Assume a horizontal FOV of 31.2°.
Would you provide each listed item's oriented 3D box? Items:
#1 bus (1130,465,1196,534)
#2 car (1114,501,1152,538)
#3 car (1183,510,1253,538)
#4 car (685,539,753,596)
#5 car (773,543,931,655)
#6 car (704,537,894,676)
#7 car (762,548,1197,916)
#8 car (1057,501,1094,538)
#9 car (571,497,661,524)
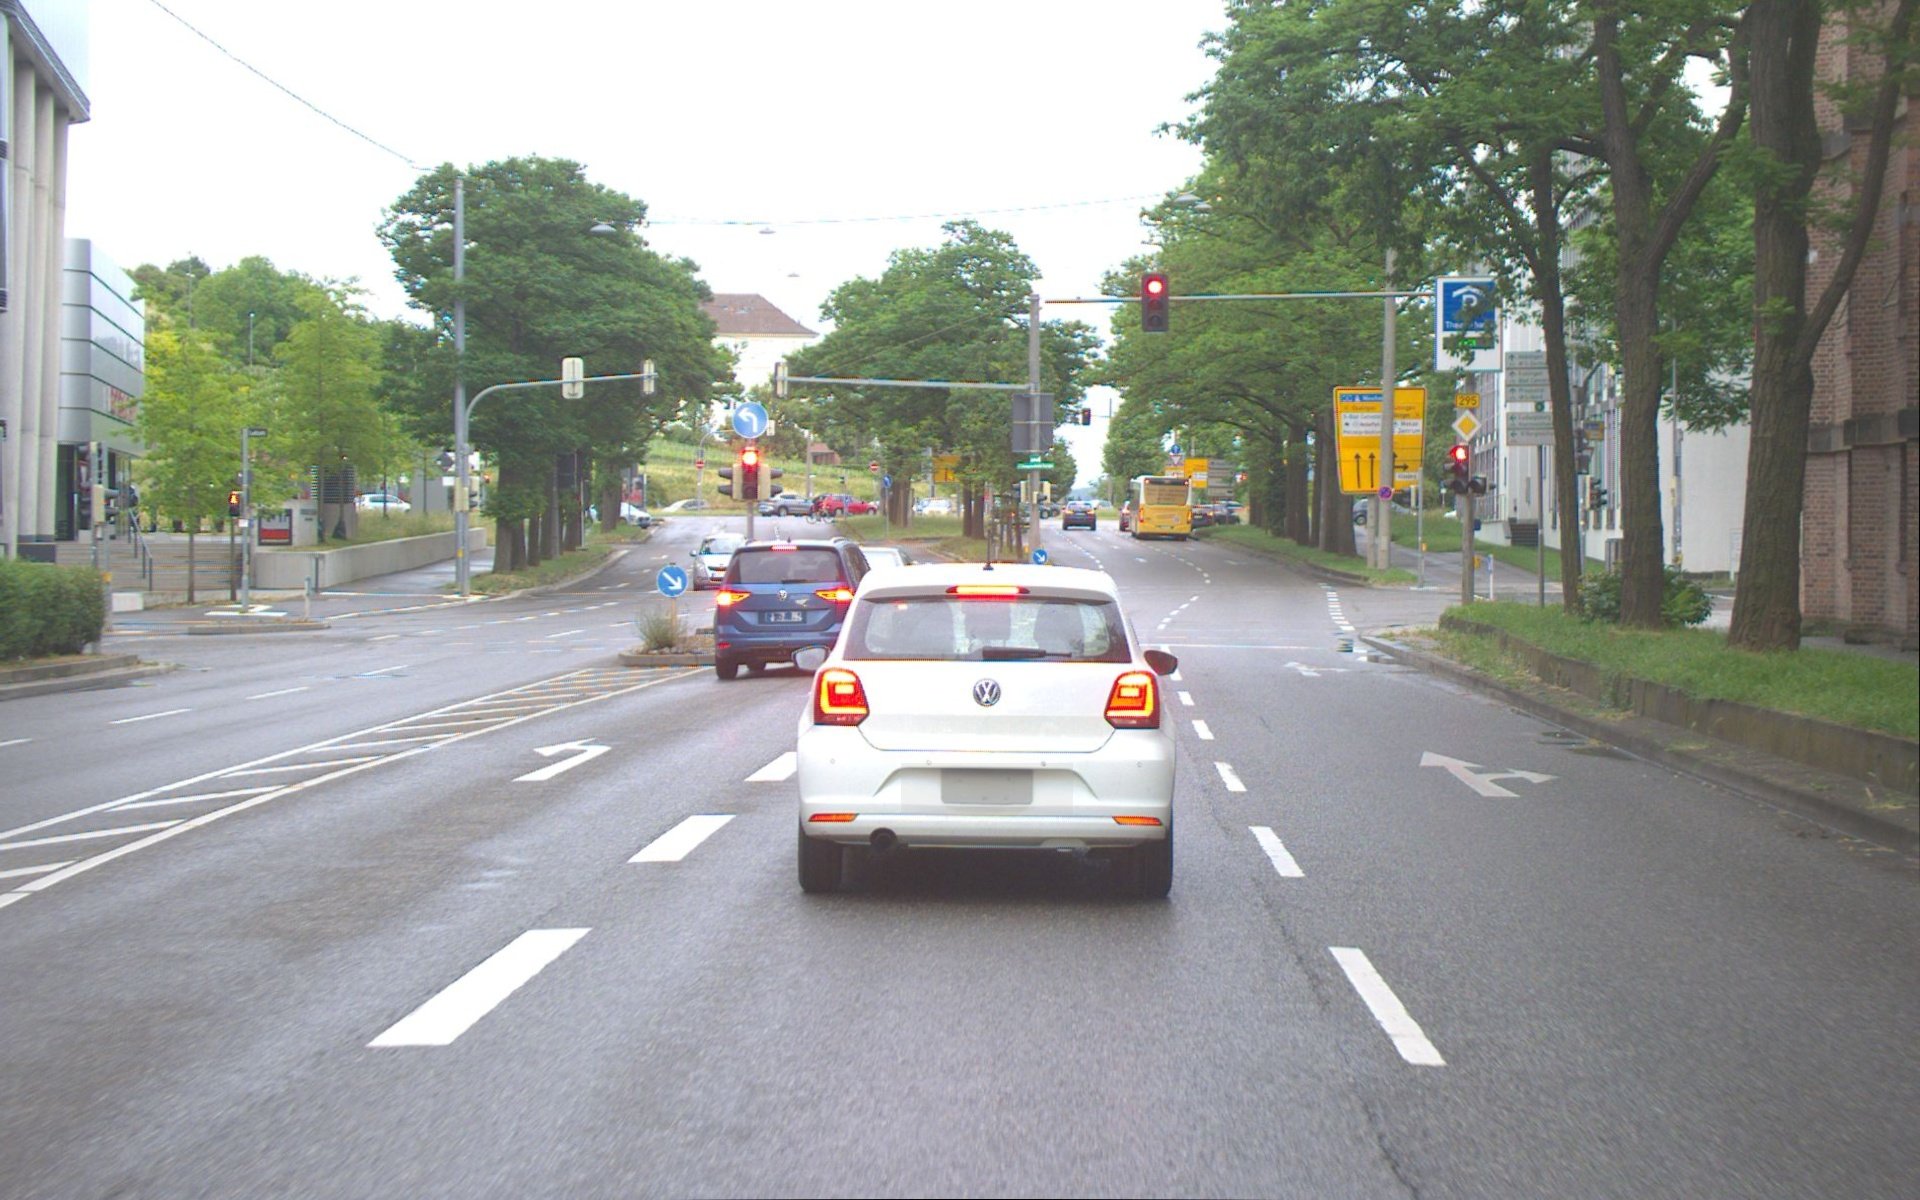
[{"bbox_3d":[9.972,-4.998,169.955,2.828,3.255,10.001,1,2,1],"label":"bus"},{"bbox_3d":[9.551,-4.444,189.770,1.993,2.007,4.000,0,1,1],"label":"car"},{"bbox_3d":[14.189,-4.175,189.196,3.817,1.510,1.699,-1,1,-43],"label":"car"},{"bbox_3d":[-6.838,-0.934,97.877,1.750,1.515,3.818,-1,2,-2],"label":"car"},{"bbox_3d":[-1.491,-0.043,49.032,1.847,1.505,4.048,-1,1,4],"label":"car"},{"bbox_3d":[-1.891,0.040,41.586,1.772,1.591,4.197,0,1,5],"label":"car"},{"bbox_3d":[0.162,0.517,16.300,1.794,1.497,4.000,1,1,2],"label":"car"},{"bbox_3d":[6.377,-4.445,190.079,1.993,2.007,4.000,0,1,1],"label":"car"},{"bbox_3d":[-19.049,-4.953,190.283,4.646,1.406,1.818,-1,2,26],"label":"car"}]
